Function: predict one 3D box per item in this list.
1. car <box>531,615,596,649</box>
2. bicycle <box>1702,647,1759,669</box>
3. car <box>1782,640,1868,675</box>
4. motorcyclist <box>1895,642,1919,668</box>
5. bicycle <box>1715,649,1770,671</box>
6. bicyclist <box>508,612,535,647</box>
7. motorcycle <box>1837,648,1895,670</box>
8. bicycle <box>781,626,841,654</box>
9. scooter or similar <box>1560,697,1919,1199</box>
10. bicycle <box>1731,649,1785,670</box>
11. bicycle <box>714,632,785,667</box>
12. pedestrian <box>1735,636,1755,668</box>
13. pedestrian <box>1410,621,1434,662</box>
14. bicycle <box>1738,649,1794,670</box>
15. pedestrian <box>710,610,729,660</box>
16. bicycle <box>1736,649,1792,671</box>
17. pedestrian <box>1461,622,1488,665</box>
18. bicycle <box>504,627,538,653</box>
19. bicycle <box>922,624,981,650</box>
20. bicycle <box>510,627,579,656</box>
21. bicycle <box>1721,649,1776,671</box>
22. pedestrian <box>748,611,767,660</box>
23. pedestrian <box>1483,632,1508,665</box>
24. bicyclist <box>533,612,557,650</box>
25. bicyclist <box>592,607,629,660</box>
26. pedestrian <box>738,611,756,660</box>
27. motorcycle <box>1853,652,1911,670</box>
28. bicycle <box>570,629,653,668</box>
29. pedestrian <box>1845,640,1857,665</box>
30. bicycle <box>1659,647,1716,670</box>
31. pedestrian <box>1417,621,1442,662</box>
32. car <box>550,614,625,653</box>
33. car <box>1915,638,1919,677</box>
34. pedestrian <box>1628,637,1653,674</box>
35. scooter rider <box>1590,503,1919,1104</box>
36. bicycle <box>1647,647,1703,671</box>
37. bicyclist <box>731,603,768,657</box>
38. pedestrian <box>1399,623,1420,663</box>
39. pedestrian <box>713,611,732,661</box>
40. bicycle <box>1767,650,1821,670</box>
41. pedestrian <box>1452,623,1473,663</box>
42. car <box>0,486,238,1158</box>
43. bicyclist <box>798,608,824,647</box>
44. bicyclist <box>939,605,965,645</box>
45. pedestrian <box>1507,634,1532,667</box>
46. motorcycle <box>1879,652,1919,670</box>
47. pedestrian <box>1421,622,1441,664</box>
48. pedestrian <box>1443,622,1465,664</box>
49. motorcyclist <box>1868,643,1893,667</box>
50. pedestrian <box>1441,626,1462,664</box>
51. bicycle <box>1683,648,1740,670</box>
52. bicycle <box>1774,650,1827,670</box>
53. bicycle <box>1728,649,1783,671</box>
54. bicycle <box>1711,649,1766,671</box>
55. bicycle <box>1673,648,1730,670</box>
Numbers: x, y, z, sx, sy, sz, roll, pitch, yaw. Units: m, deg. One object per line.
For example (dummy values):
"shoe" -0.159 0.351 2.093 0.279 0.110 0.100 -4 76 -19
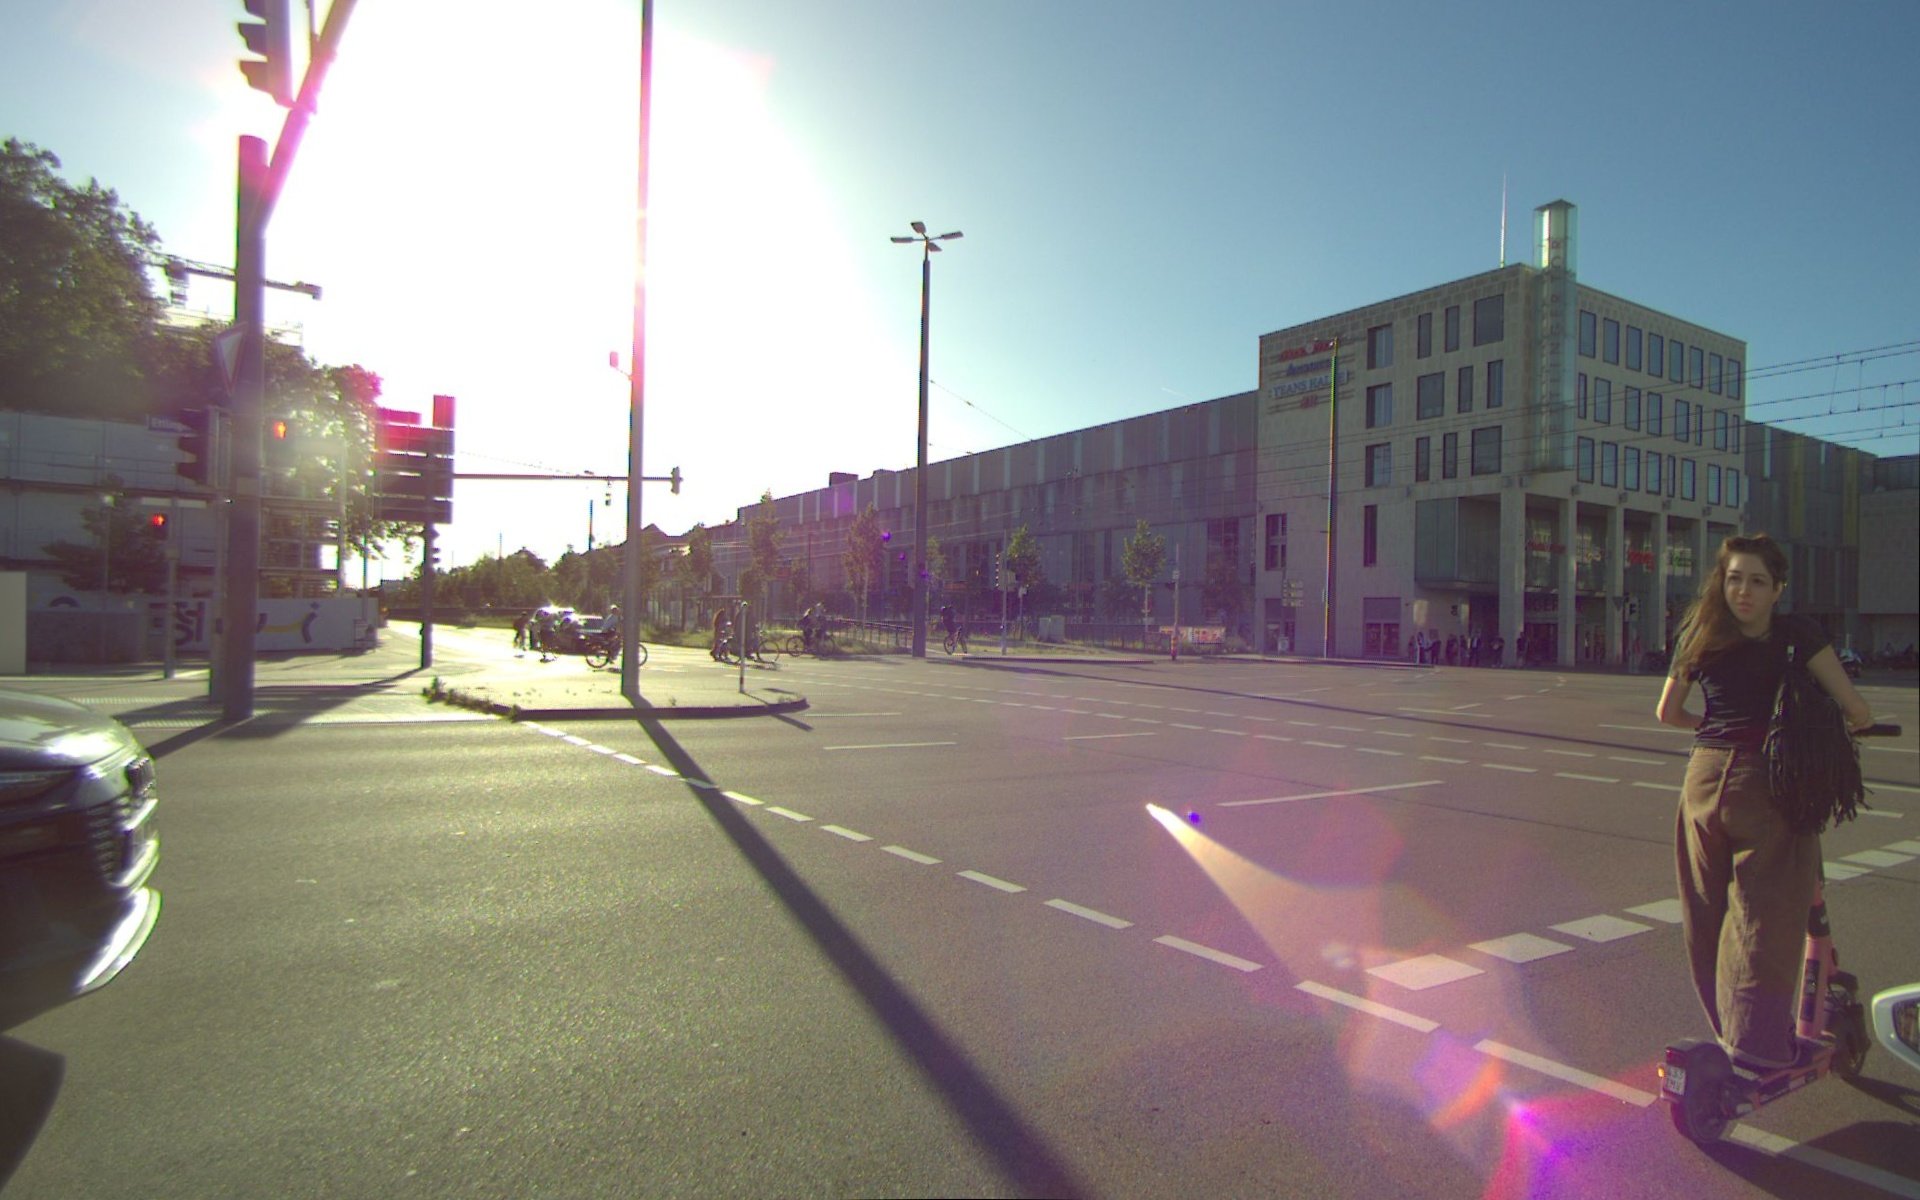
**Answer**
"car" -17.669 1.375 44.677 1.978 1.394 3.964 1 0 -33
"bicycle" 42.785 3.218 55.816 0.675 1.125 2.459 1 -1 -27
"car" 42.098 2.767 48.893 4.244 1.602 1.928 2 -1 -31
"motorcyclist" 63.482 3.677 67.253 0.907 1.596 1.129 2 0 -35
"bicycle" 44.489 3.399 57.140 0.530 1.125 2.459 1 -1 -27
"bicyclist" -16.871 1.126 38.650 0.797 1.315 0.769 1 0 -35
"motorcycle" 58.324 3.799 64.686 0.907 1.234 2.650 2 0 -35
"bicycle" -5.280 1.409 35.625 2.042 0.939 0.803 1 0 -14
"scooter or similar" 2.633 0.950 3.176 1.467 1.191 0.639 2 0 -32
"bicycle" 46.976 3.491 59.180 0.675 1.125 2.459 1 -1 -27
"bicycle" -6.214 1.455 29.696 1.951 1.010 0.645 1 -1 -25
"pedestrian" 50.696 3.338 64.868 0.933 2.008 1.004 1 -1 38
"pedestrian" 24.690 2.229 53.677 0.886 2.152 0.941 1 -1 44
"bicycle" 48.012 3.531 59.864 0.824 1.125 2.459 2 -1 -27
"pedestrian" -7.797 1.122 32.549 0.445 1.587 0.516 1 0 -28
"bicycle" 46.554 3.466 58.193 0.824 1.125 2.459 2 -1 -27
"pedestrian" 26.500 2.239 51.750 1.042 2.157 1.098 1 -1 20
"bicycle" -16.951 1.522 38.760 0.797 0.939 2.057 1 0 -35
"bicycle" -0.310 1.411 38.110 2.379 0.953 0.746 2 -1 -45
"bicycle" -14.162 1.413 34.308 2.041 0.939 0.803 1 0 -13
"bicycle" 45.048 3.421 57.419 0.675 1.125 2.459 1 -1 -27
"pedestrian" -6.608 1.164 32.754 0.445 1.587 0.516 1 0 -28
"pedestrian" 27.747 2.495 52.025 0.988 1.673 0.948 1 -1 20
"bicyclist" -14.177 1.052 34.316 0.626 1.287 0.804 1 0 -12
"bicyclist" -9.540 0.897 27.404 0.833 1.420 0.799 1 0 -30
"pedestrian" -7.096 1.180 33.463 0.445 1.587 0.516 1 0 -28
"motorcycle" 60.382 3.990 65.779 0.907 1.009 2.650 2 0 -35
"bicycle" -9.503 1.314 27.411 2.053 0.991 0.799 1 0 -31
"pedestrian" 72.889 4.290 82.149 0.475 2.040 0.610 2 1 -42
"bicycle" 39.230 3.166 54.170 0.675 1.125 2.458 2 -1 -27
"pedestrian" 25.496 2.246 54.593 0.939 2.152 0.888 2 -1 -39
"car" -14.738 1.282 39.629 1.978 1.394 3.964 1 0 -33
"car" 43.323 2.533 43.520 4.248 1.699 1.926 2 -1 -33
"pedestrian" 33.136 2.690 48.911 0.748 1.763 0.747 2 -1 -31
"scooter rider" 2.640 0.542 3.178 1.105 1.564 0.639 2 0 -32
"bicycle" 38.080 3.130 53.502 0.650 1.127 2.393 1 -1 -28
"bicyclist" -6.223 0.879 29.698 0.929 1.565 0.645 1 0 -25
"pedestrian" 24.813 2.351 55.460 0.883 2.152 0.944 1 -1 35
"pedestrian" -7.586 1.152 32.052 0.445 1.587 0.516 1 0 -28
"bicycle" 50.940 3.647 61.386 0.824 1.125 2.459 2 -1 -27
"pedestrian" 26.719 2.284 53.392 0.901 2.040 1.021 1 -1 32
"car" -4.725 0.503 2.340 4.739 1.684 2.182 2 -1 -32
"bicyclist" -5.286 0.960 35.624 0.827 1.375 0.803 1 0 -14
"bicyclist" -0.316 0.948 38.102 0.613 1.525 0.746 2 -1 -44
"pedestrian" 27.941 2.533 50.150 0.927 1.592 0.841 1 -1 20
"motorcycle" 63.443 4.107 67.270 0.907 1.009 2.650 2 0 -35
"pedestrian" 24.584 2.224 52.445 0.882 2.152 0.946 1 -1 27
"pedestrian" 25.533 2.224 51.958 0.880 2.152 0.947 1 -1 19
"motorcyclist" 60.341 3.584 65.837 0.907 1.490 1.029 2 0 -35
"pedestrian" 26.855 2.464 54.888 0.899 2.040 1.023 1 -1 22
"bicycle" 41.170 3.216 55.091 0.675 1.125 2.459 1 -1 -27
"bicycle" 51.642 3.664 61.769 0.652 1.125 2.459 1 -1 -27
"bicycle" 45.727 3.437 57.771 0.675 1.125 2.459 1 -1 -27
"bicycle" 43.995 3.380 56.823 0.586 1.125 2.459 1 -1 -27
"bicycle" 40.428 3.207 54.787 0.675 1.125 2.460 1 -1 -25
